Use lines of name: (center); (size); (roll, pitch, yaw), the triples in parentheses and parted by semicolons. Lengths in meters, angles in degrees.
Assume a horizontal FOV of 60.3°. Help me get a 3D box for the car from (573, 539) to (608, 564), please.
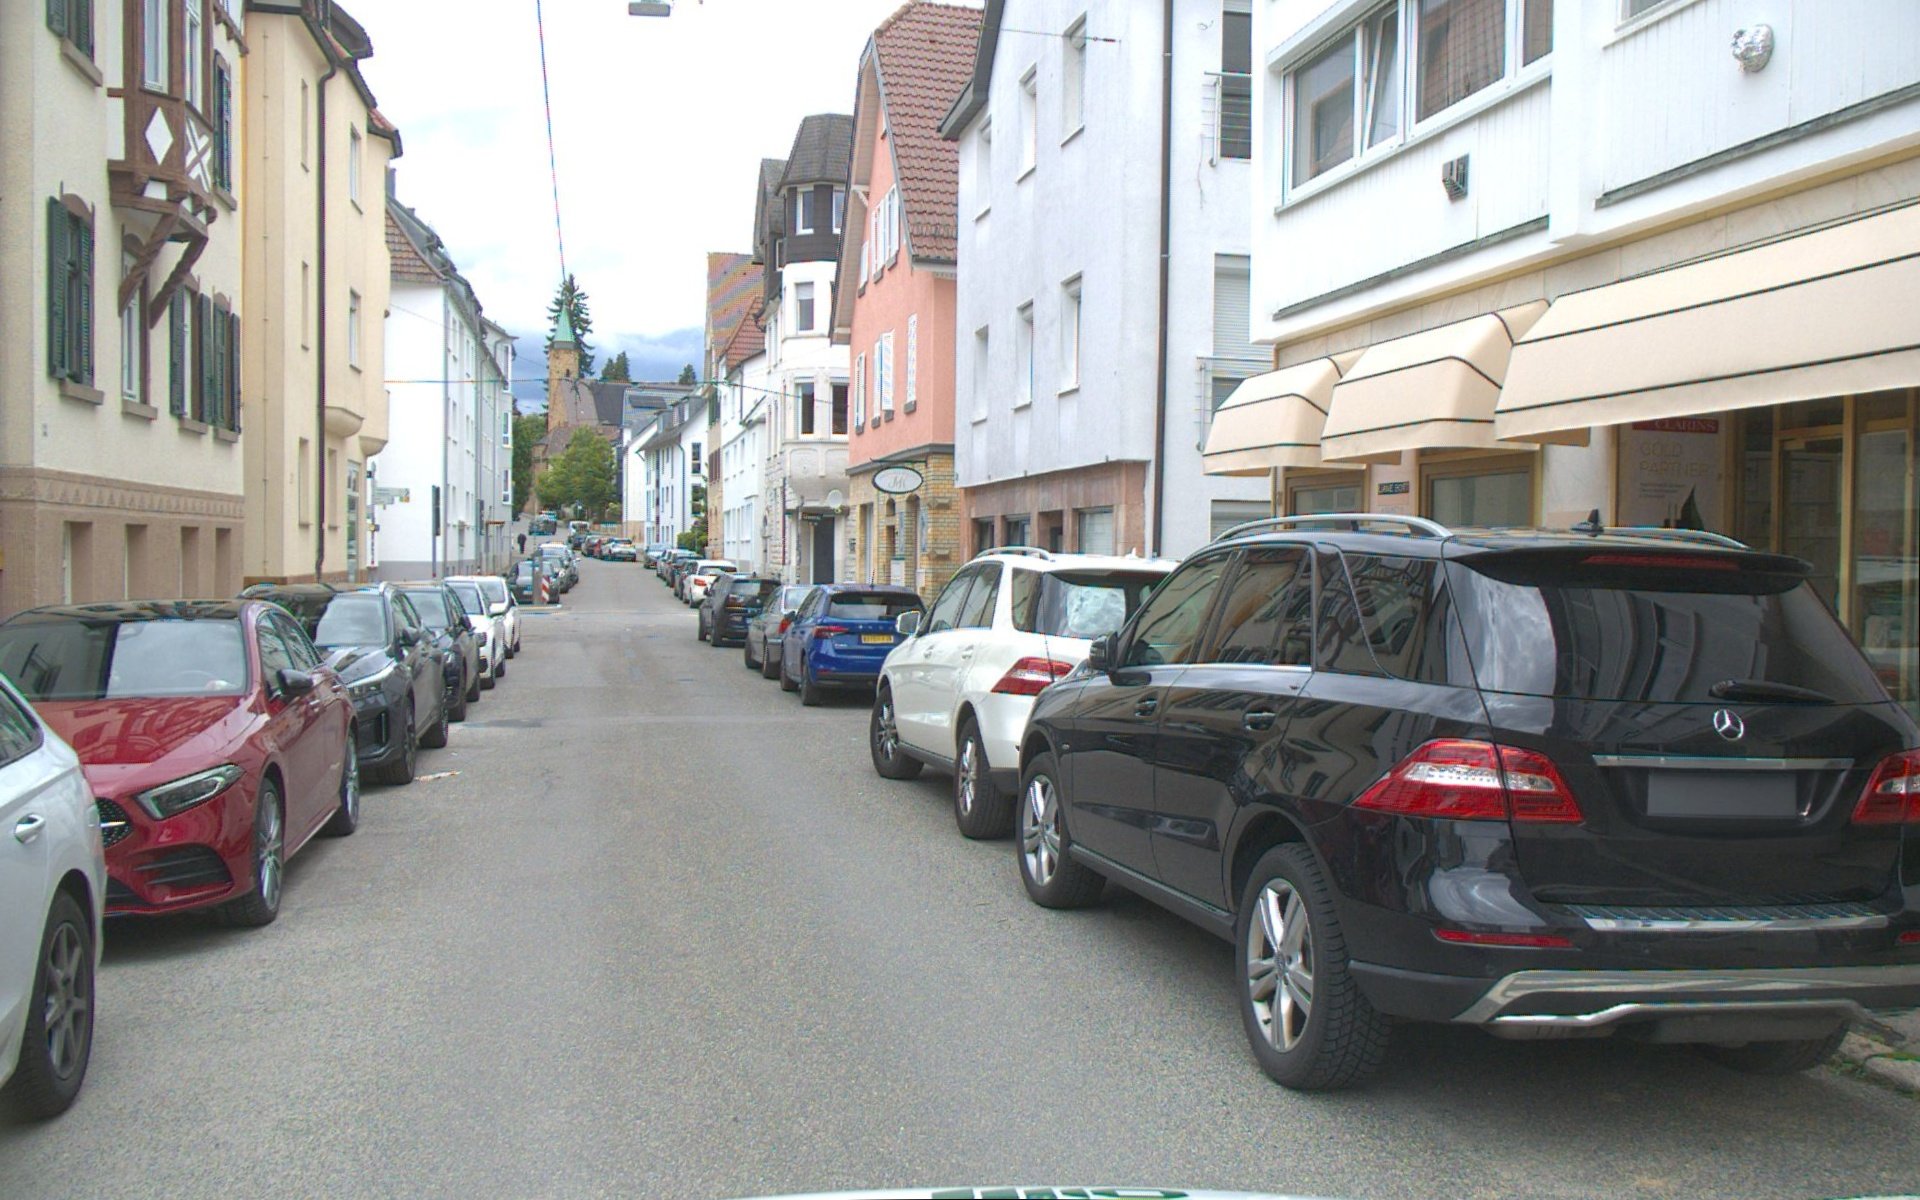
car: (-27.436, -3.637, 122.690); (1.862, 1.674, 3.949); (3, 2, -22)

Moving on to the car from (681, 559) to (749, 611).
car: (-8.383, -0.536, 56.472); (1.738, 1.552, 3.885); (1, 2, -17)

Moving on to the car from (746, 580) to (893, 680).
car: (-2.301, 0.423, 26.171); (1.719, 1.415, 4.017); (1, 0, -14)

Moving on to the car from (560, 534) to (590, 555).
car: (-32.270, -4.637, 138.588); (1.862, 1.632, 3.692); (3, 1, -22)

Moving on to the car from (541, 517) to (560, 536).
car: (-46.404, -8.331, 187.476); (1.793, 1.956, 3.732); (3, 2, -18)

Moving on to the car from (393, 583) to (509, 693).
car: (-7.145, 0.468, 23.452); (1.261, 1.382, 3.793); (-1, 1, -13)

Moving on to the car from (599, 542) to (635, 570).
car: (-23.318, -3.000, 112.361); (1.734, 1.695, 3.976); (3, 1, -21)

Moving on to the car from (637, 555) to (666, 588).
car: (-17.578, -1.609, 94.229); (1.551, 1.790, 3.200); (1, -1, -12)

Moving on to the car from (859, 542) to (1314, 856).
car: (0.621, 0.515, 11.509); (1.900, 1.741, 4.362); (1, 1, -13)

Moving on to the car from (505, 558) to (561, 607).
car: (-14.304, -0.624, 55.489); (1.645, 1.490, 3.987); (2, 1, -13)

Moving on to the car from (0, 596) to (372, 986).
car: (-4.173, 0.738, 8.362); (1.738, 1.442, 4.158); (-1, 1, -13)

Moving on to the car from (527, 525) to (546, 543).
car: (-43.156, -6.735, 168.471); (1.720, 1.713, 3.583); (3, 1, -17)

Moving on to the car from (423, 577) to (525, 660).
car: (-9.009, 0.303, 30.846); (1.559, 1.447, 3.390); (-1, 1, -12)

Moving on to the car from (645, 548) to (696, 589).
car: (-12.457, -1.369, 71.055); (1.700, 1.601, 3.818); (1, 2, -16)

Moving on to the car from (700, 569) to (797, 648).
car: (-4.737, 0.151, 36.634); (1.683, 1.576, 3.789); (3, 1, -14)

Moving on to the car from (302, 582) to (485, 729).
car: (-6.308, 0.538, 18.748); (1.579, 1.449, 3.840); (-1, 1, -14)

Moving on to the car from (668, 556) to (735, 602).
car: (-9.672, -0.788, 61.561); (1.923, 1.602, 3.982); (1, 1, -17)

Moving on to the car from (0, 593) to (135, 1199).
car: (-3.048, 0.765, 3.125); (1.763, 1.486, 4.279); (-1, 1, -14)

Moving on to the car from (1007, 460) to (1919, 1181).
car: (1.662, 0.580, 6.508); (1.907, 1.811, 4.355); (2, 0, -13)

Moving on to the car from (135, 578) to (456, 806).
car: (-5.252, 0.613, 13.592); (1.738, 1.521, 3.970); (-2, 1, -12)

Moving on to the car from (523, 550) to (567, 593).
car: (-16.142, -1.140, 64.394); (1.513, 1.541, 3.367); (3, 1, -13)

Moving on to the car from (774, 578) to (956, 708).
car: (-1.305, 0.490, 21.167); (1.743, 1.501, 3.771); (1, 0, -12)

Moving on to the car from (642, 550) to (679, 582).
car: (-13.779, -1.588, 76.050); (1.385, 1.328, 2.890); (1, 2, -16)
